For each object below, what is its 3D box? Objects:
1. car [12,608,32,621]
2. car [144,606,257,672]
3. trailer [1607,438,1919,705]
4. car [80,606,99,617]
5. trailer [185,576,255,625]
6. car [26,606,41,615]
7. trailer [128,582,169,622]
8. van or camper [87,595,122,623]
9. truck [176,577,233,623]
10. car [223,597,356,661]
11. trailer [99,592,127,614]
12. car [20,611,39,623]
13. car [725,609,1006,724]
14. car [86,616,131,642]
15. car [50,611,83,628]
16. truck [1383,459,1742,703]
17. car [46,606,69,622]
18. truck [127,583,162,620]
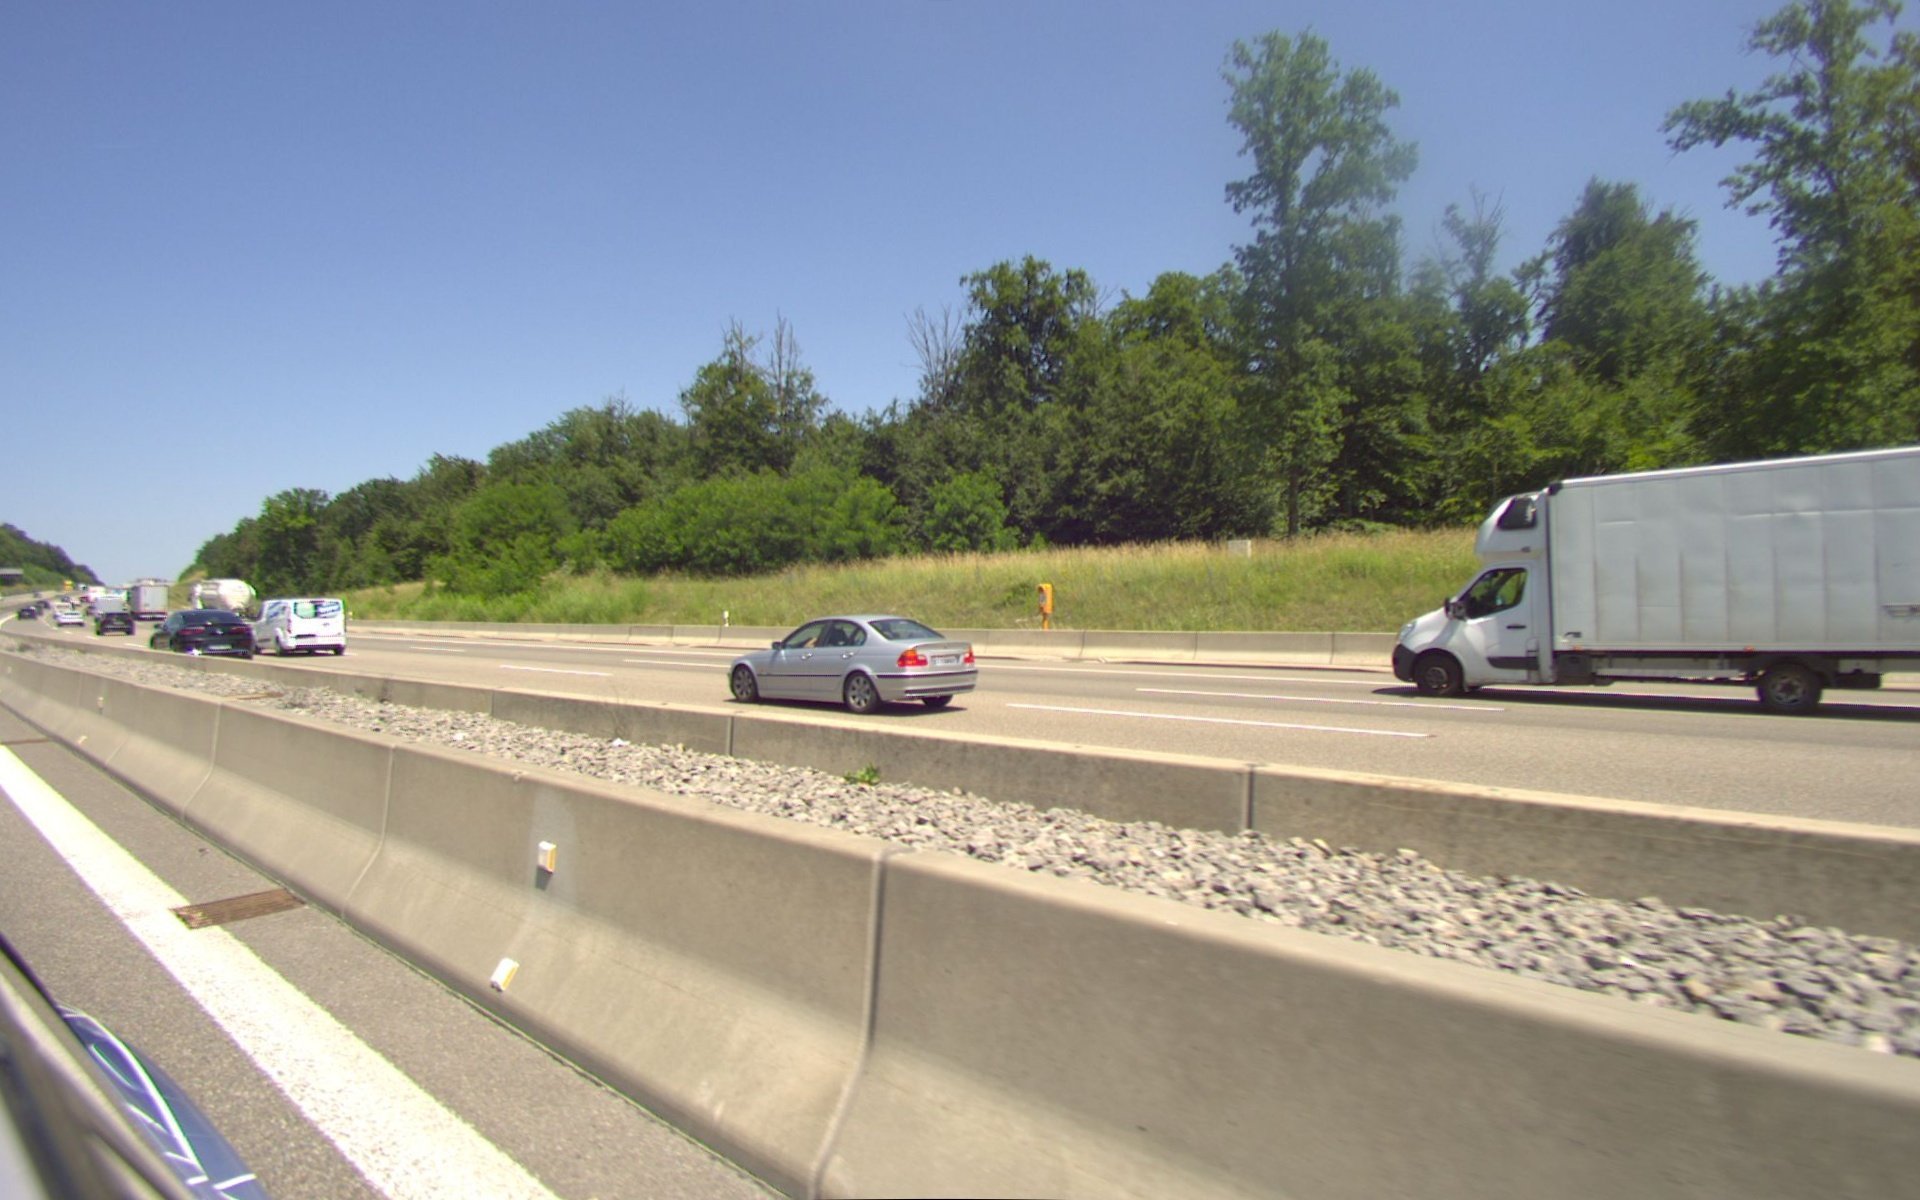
[{"bbox_3d":[-112.532,1.727,121.415,1.654,1.508,4.956,-1,1,-44],"label":"car"},{"bbox_3d":[-22.107,1.057,29.396,4.917,1.674,1.806,0,1,43],"label":"car"},{"bbox_3d":[13.764,-0.351,11.608,10.475,3.178,2.449,0,1,41],"label":"trailer"},{"bbox_3d":[-124.771,1.623,145.032,1.970,1.507,4.803,0,0,-43],"label":"car"},{"bbox_3d":[-58.256,0.007,79.569,10.496,3.561,2.622,0,1,44],"label":"trailer"},{"bbox_3d":[-171.475,1.963,187.216,1.895,1.696,4.003,-1,1,-44],"label":"car"},{"bbox_3d":[-96.002,0.166,119.604,2.994,4.393,14.295,-1,1,-42],"label":"trailer"},{"bbox_3d":[-93.623,0.971,110.732,2.528,2.953,7.356,0,-1,-44],"label":"van or camper"},{"bbox_3d":[-62.247,-0.028,83.297,6.622,3.570,2.674,0,1,44],"label":"truck"},{"bbox_3d":[-24.024,0.978,36.120,7.138,2.071,2.172,-1,-1,41],"label":"car"},{"bbox_3d":[-158.149,0.577,188.941,3.191,4.068,15.302,0,0,-43],"label":"trailer"},{"bbox_3d":[-130.906,2.335,142.390,1.851,1.645,5.167,0,-1,-44],"label":"car"},{"bbox_3d":[-1.522,0.866,15.042,4.350,1.412,1.682,0,0,42],"label":"car"},{"bbox_3d":[-55.332,1.846,65.756,4.611,1.538,1.657,0,1,43],"label":"car"},{"bbox_3d":[-81.584,1.770,92.385,5.050,1.470,1.971,-1,-1,45],"label":"car"},{"bbox_3d":[9.212,-0.247,15.612,4.399,3.190,2.462,-1,0,41],"label":"truck"},{"bbox_3d":[-114.948,1.762,128.887,1.979,2.029,5.188,0,-1,-44],"label":"car"},{"bbox_3d":[-100.240,0.168,124.400,3.006,4.405,6.464,-1,1,-42],"label":"truck"}]
